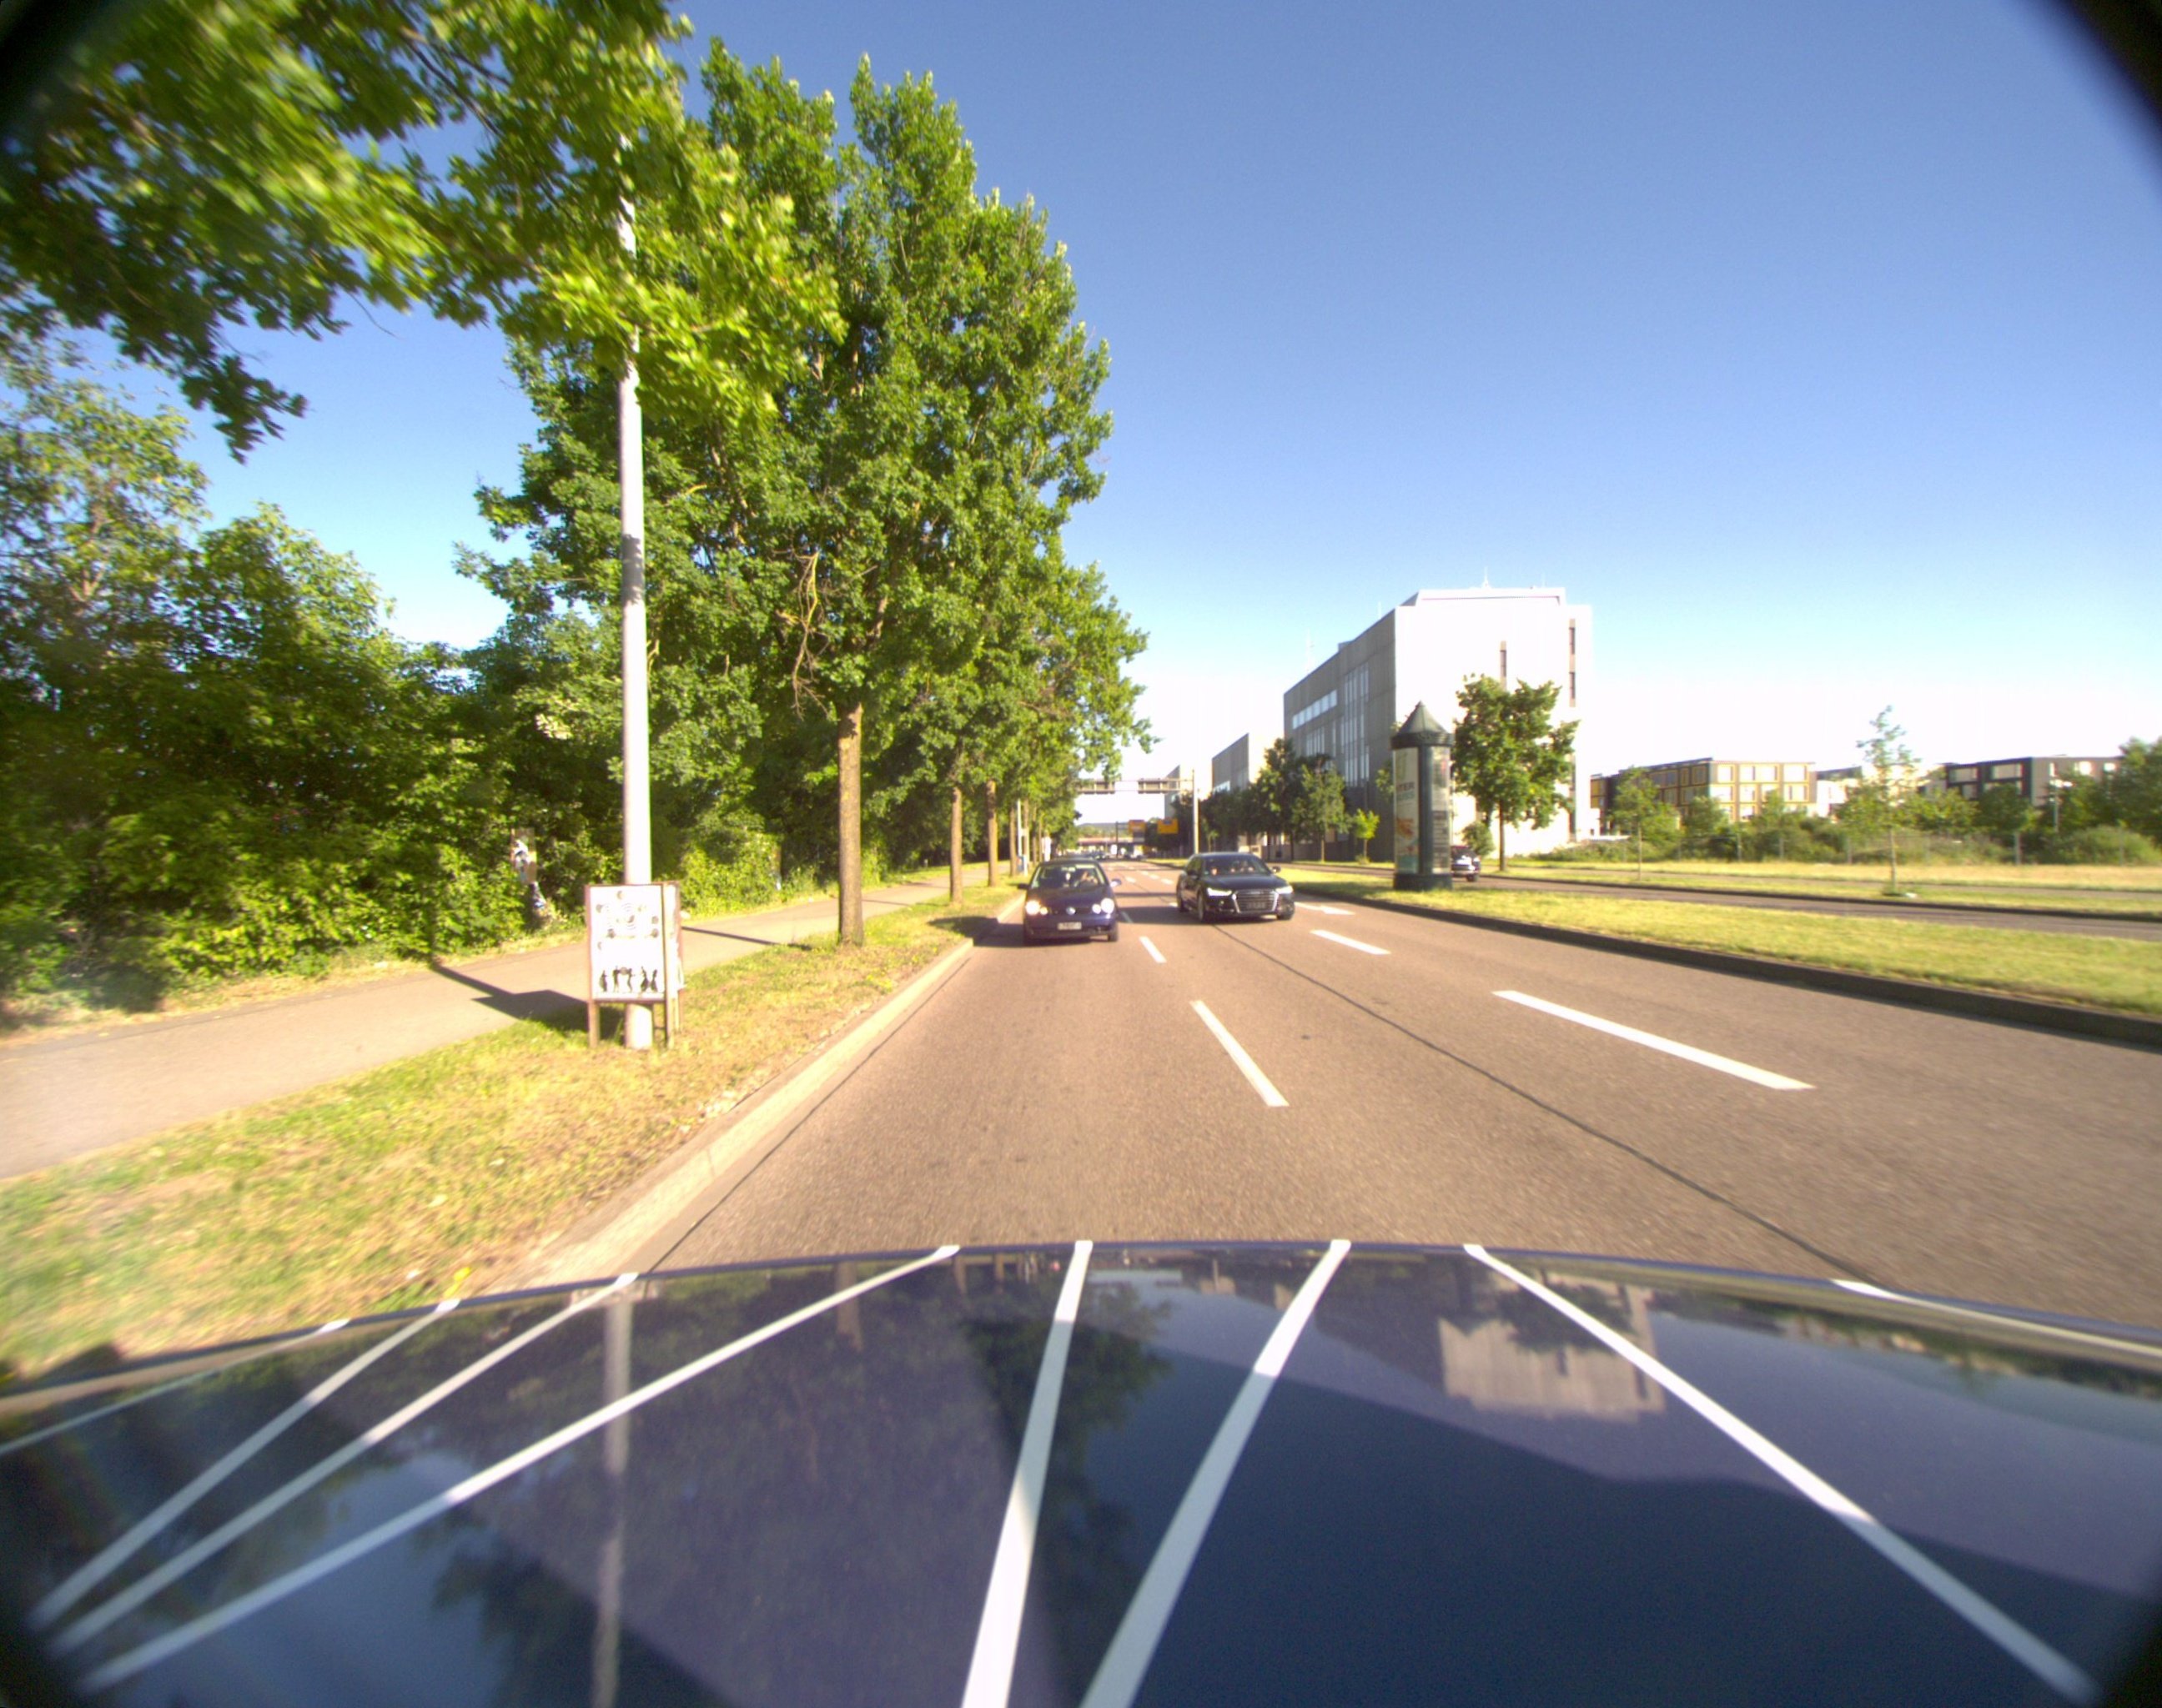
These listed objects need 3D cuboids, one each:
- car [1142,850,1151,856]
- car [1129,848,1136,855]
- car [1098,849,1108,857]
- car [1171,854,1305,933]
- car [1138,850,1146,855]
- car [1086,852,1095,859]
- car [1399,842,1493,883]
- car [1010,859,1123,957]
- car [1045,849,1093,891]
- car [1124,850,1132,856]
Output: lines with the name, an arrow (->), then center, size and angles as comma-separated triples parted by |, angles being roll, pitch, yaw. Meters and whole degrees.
car -> 16.180, -0.207, 188.427 | 1.998, 1.569, 3.999 | -1, 1, 0
car -> 16.654, -0.774, 246.977 | 1.998, 2.173, 3.999 | -1, 1, 0
car -> 5.087, -0.196, 175.716 | 1.998, 1.678, 4.001 | -1, 1, 4
car -> 3.292, 0.752, 17.006 | 1.797, 1.435, 5.016 | -2, 0, -2
car -> 19.508, -0.519, 242.762 | 1.998, 1.582, 3.999 | -1, 1, 0
car -> 2.228, 0.289, 177.006 | 1.998, 1.678, 4.001 | -1, 1, 4
car -> 16.498, 0.337, 34.682 | 1.999, 1.729, 4.737 | -1, 1, 0
car -> -0.118, 0.892, 14.603 | 1.636, 1.459, 4.547 | -2, 1, 5
car -> -0.515, 0.594, 30.930 | 1.757, 1.446, 3.998 | -3, 1, -2
car -> 12.970, -0.196, 209.581 | 1.998, 1.569, 3.999 | -1, 1, 0
